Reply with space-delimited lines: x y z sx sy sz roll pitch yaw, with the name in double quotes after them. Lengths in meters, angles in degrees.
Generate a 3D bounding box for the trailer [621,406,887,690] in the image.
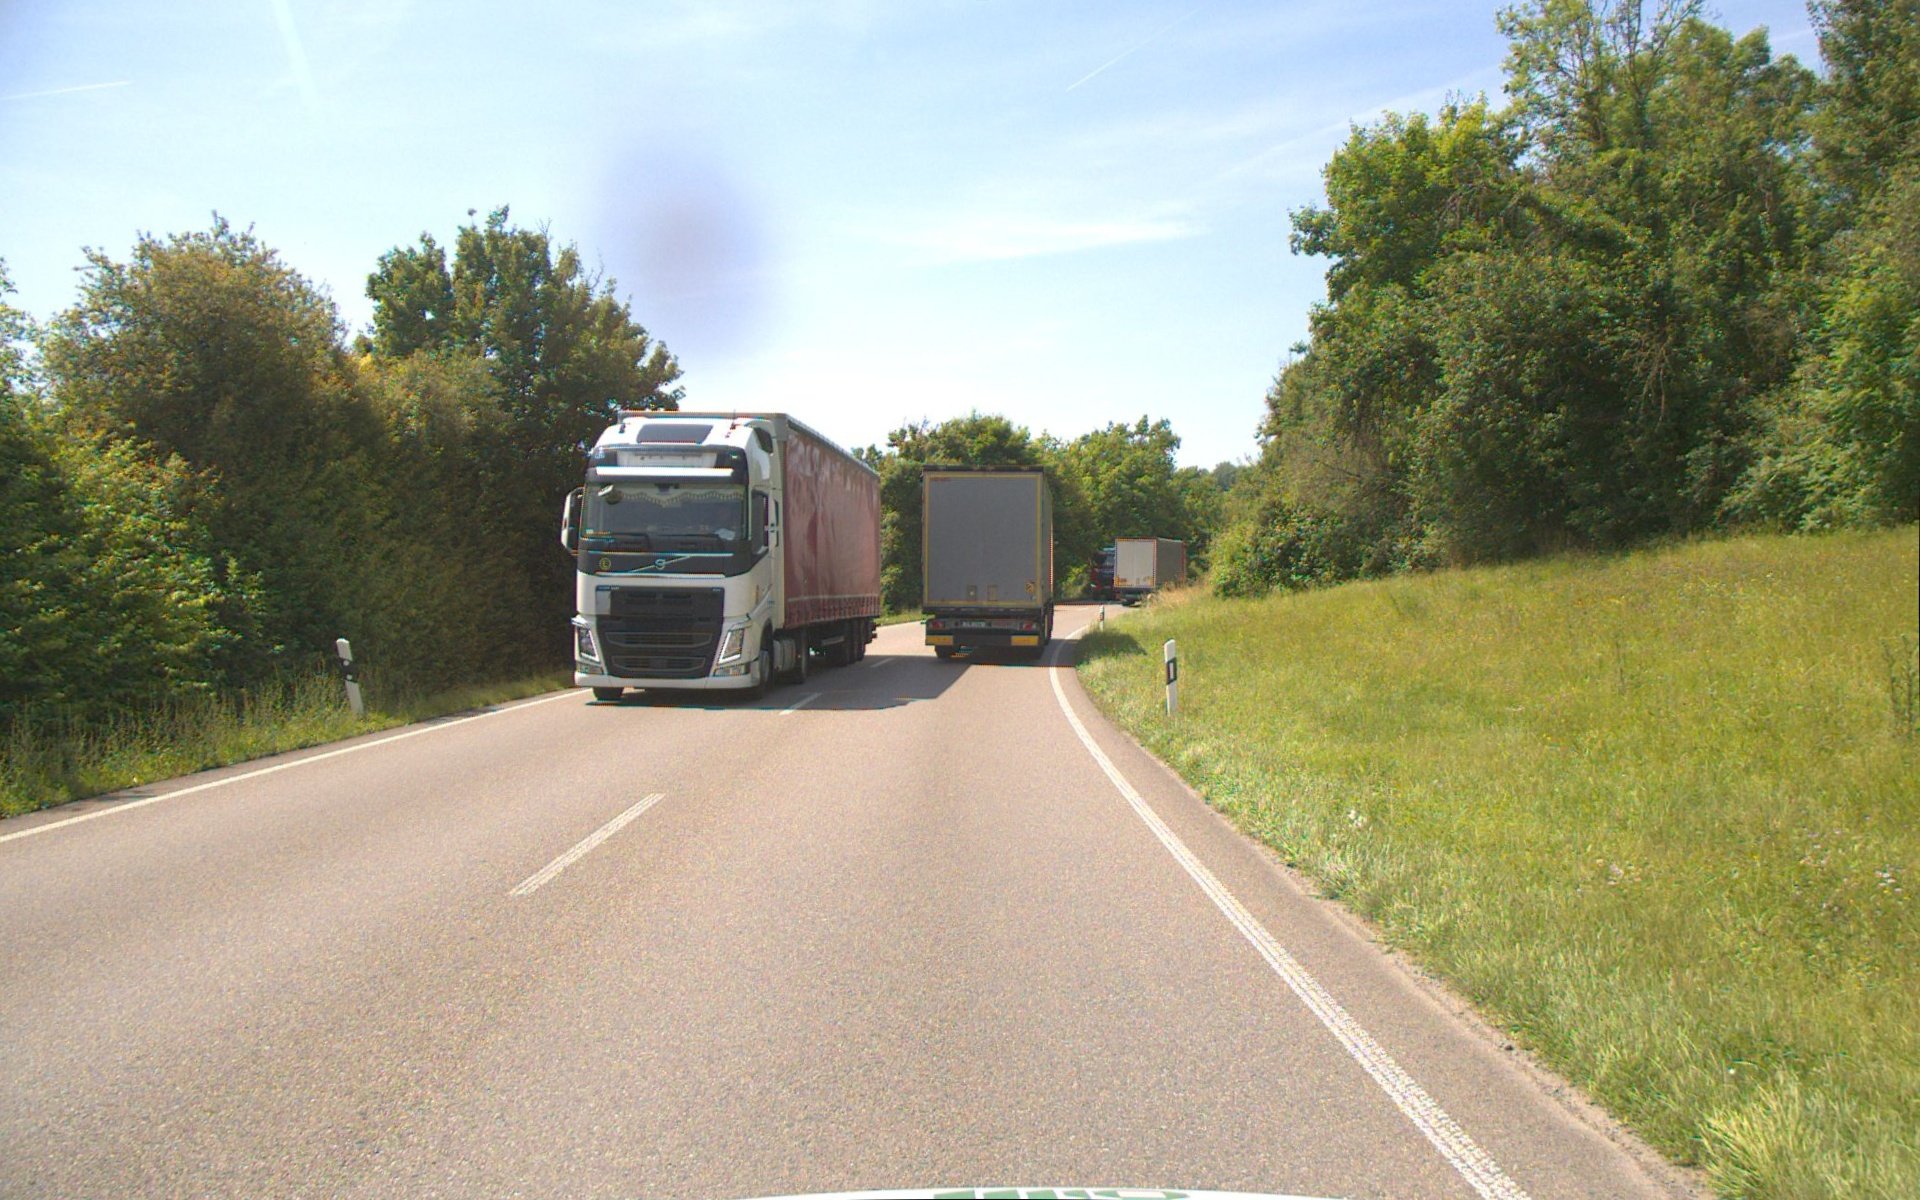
-3.345 -0.816 31.162 2.514 4.180 13.668 0 0 3 "trailer"

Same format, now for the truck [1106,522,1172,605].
11.513 -2.436 104.899 3.038 4.787 16.607 -1 2 10 "truck"

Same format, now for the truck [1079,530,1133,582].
10.757 -3.131 120.680 2.498 3.513 12.645 0 0 11 "truck"

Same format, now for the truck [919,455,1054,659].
0.974 -0.900 41.283 2.743 4.140 15.332 0 0 3 "truck"

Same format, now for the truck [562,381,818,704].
-3.767 -0.770 24.402 2.505 4.187 5.802 0 0 3 "truck"
